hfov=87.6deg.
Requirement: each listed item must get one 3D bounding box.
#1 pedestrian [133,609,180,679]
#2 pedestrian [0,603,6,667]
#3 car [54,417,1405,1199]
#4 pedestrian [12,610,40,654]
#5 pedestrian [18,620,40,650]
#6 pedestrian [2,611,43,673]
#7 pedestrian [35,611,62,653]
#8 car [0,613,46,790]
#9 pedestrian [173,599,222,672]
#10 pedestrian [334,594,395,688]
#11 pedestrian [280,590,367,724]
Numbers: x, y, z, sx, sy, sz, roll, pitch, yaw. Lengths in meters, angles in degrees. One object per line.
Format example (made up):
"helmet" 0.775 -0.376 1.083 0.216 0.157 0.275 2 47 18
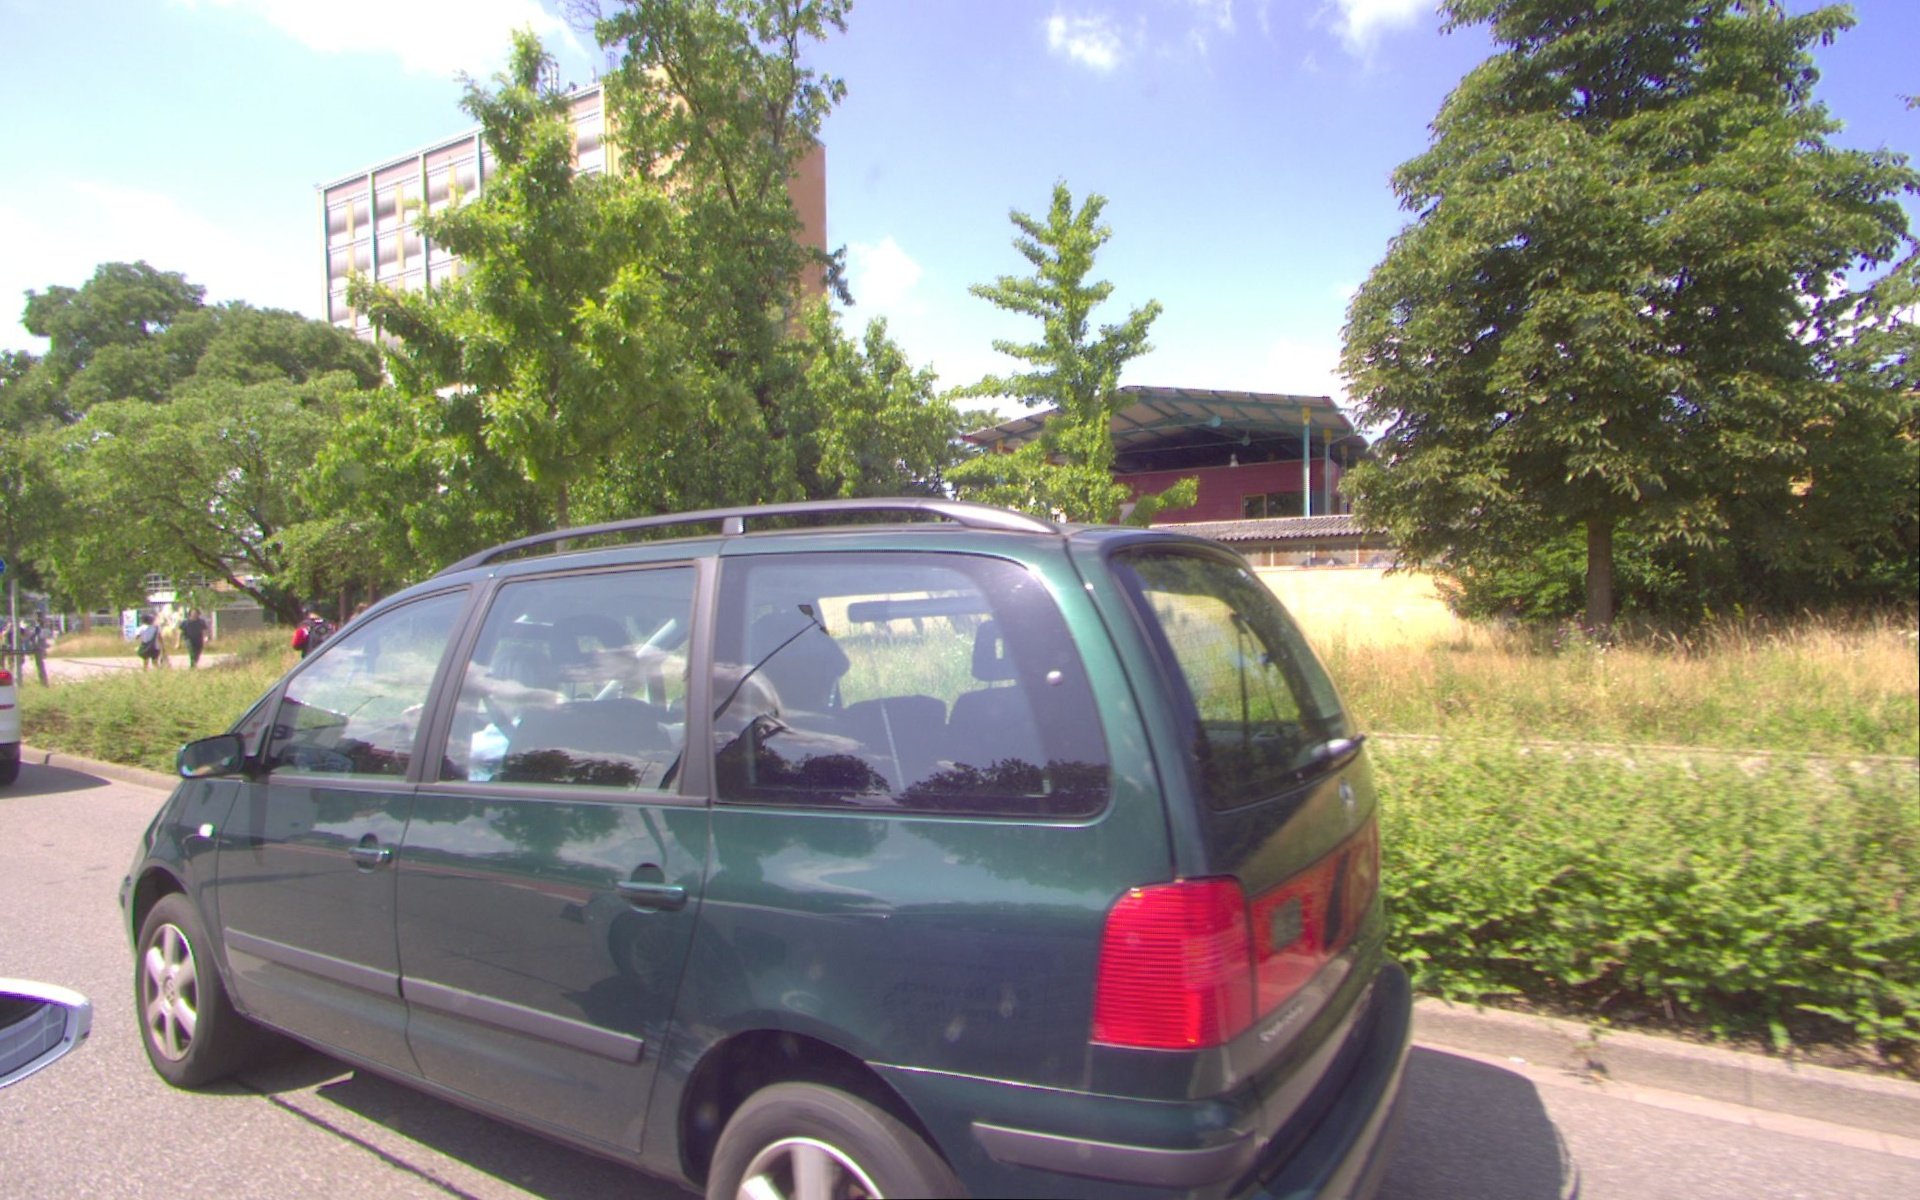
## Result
"pedestrian" -19.291 1.043 24.055 0.638 1.618 0.665 0 2 32
"pedestrian" -27.728 1.009 28.348 0.868 1.802 0.749 0 2 27
"car" -1.039 0.685 3.302 4.385 1.745 1.791 -1 -2 33
"pedestrian" -39.873 1.344 42.733 0.602 1.827 0.746 0 2 39
"pedestrian" -59.122 2.206 63.608 0.770 1.846 0.753 -1 3 35
"pedestrian" -27.347 1.216 29.208 0.600 1.770 0.666 0 2 27
"pedestrian" -39.605 1.369 43.521 0.602 1.776 0.746 0 2 39
"car" -11.089 0.977 10.090 4.175 1.663 1.876 -1 0 35
"pedestrian" -19.231 0.885 25.260 0.658 1.773 0.747 0 2 32
"pedestrian" -11.572 0.776 19.464 0.865 1.773 0.665 0 2 32
"pedestrian" -8.761 0.756 13.795 0.836 1.773 0.665 0 2 32
